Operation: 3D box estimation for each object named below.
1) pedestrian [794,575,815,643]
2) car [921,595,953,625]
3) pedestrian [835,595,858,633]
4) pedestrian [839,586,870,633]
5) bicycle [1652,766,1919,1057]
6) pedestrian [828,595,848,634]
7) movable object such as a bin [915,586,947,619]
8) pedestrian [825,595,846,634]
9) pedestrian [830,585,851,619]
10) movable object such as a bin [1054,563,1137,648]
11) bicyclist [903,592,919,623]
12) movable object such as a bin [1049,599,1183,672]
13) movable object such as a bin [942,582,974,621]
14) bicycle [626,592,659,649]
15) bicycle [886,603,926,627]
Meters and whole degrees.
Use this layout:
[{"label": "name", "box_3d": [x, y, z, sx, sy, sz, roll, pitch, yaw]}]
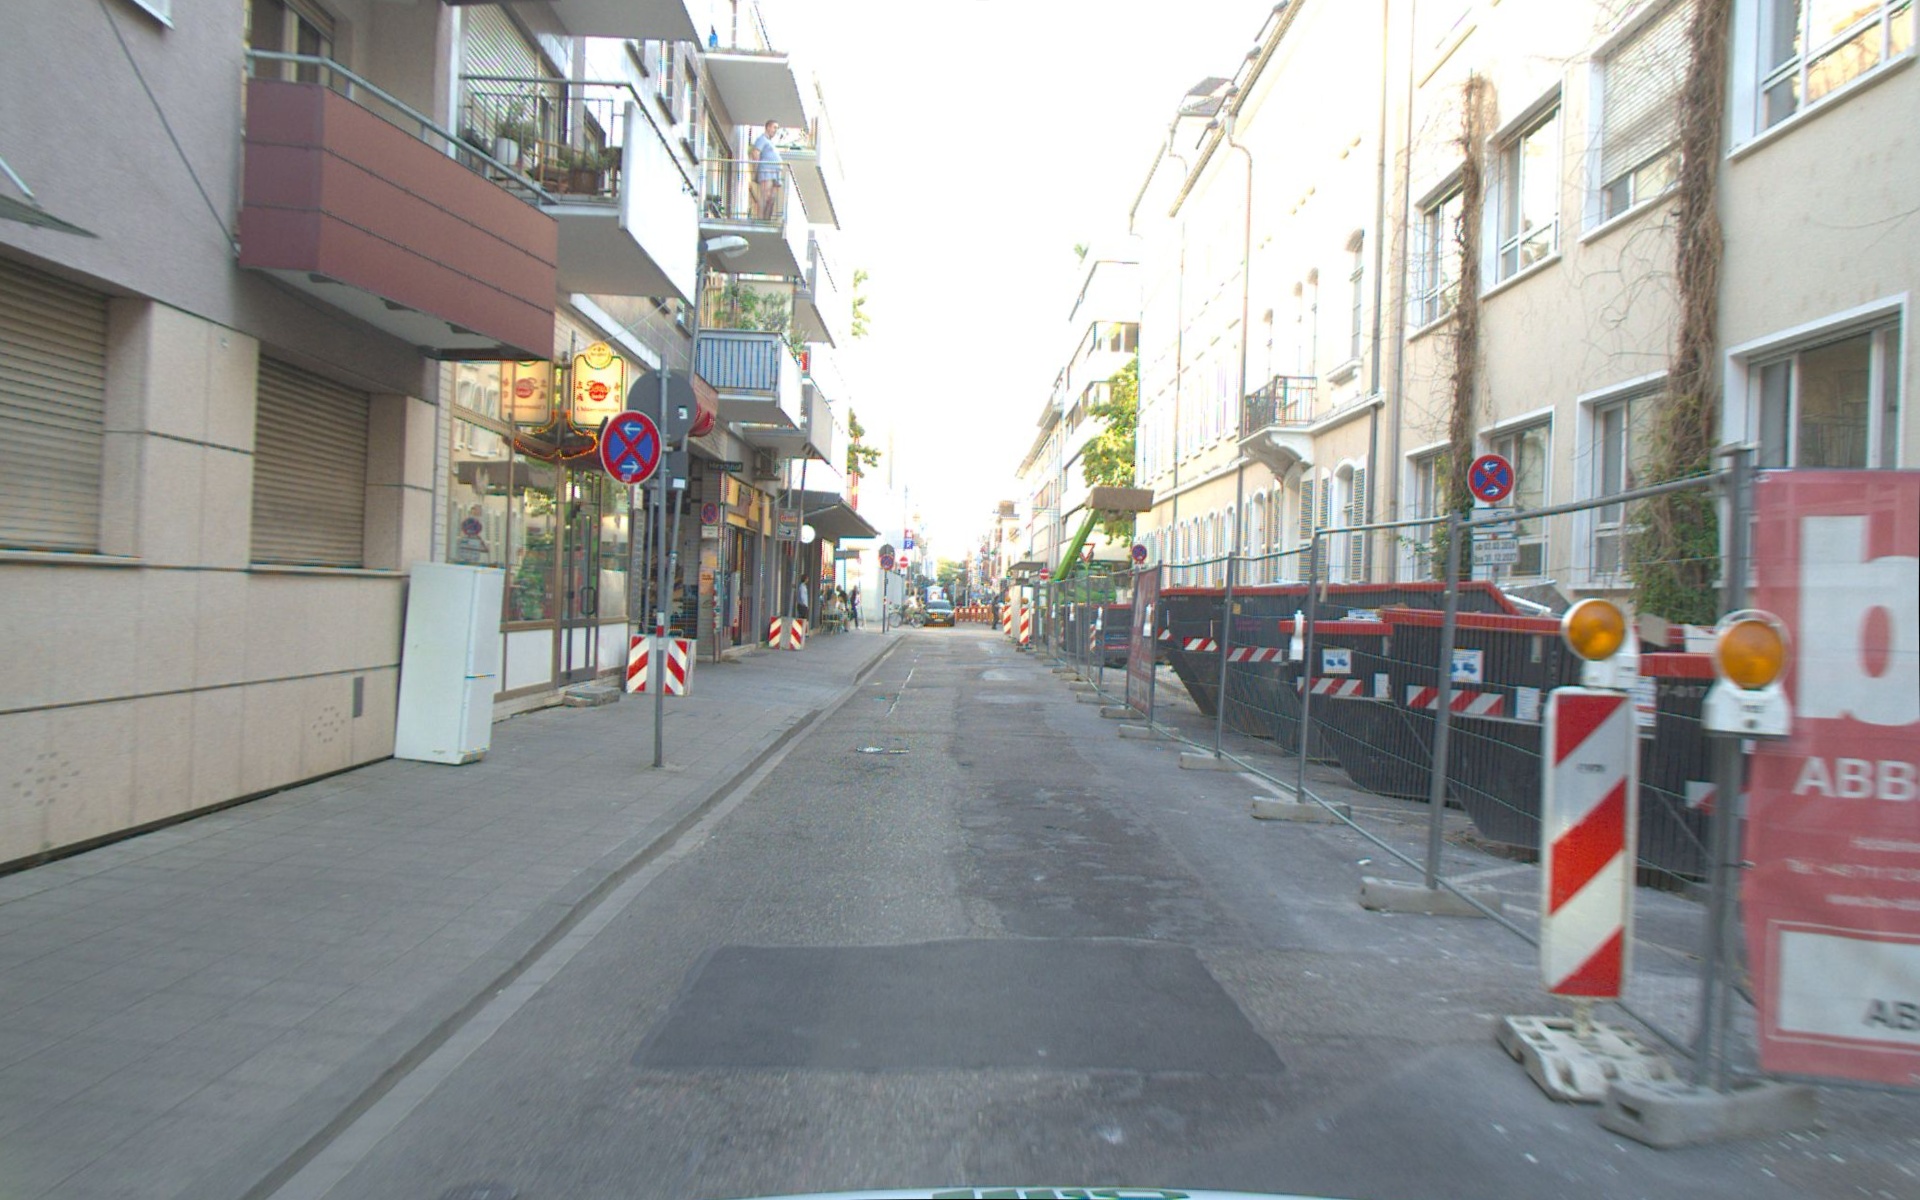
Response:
[{"label": "pedestrian", "box_3d": [-4.345, 0.251, 46.254, 0.520, 1.866, 0.562, 2, 0, -7]}, {"label": "car", "box_3d": [-1.292, 0.554, 92.974, 1.597, 1.577, 3.140, 1, 0, -4]}, {"label": "pedestrian", "box_3d": [-4.046, 0.506, 58.845, 0.688, 1.297, 0.713, 4, 0, 0]}, {"label": "pedestrian", "box_3d": [-4.203, 0.373, 65.796, 1.056, 1.867, 0.693, 1, 0, -21]}, {"label": "bicycle", "box_3d": [3.598, 1.197, 6.205, 1.777, 0.924, 0.456, 4, 1, 44]}, {"label": "pedestrian", "box_3d": [-4.243, 0.497, 57.700, 0.561, 1.297, 0.713, 4, 0, 0]}, {"label": "movable object such as a bin", "box_3d": [-1.877, 0.143, 108.258, 1.953, 2.049, 4.000, 1, 0, 0]}, {"label": "pedestrian", "box_3d": [-4.275, 0.483, 56.787, 0.561, 1.297, 0.713, 4, 0, 0]}, {"label": "pedestrian", "box_3d": [-4.564, 0.074, 63.158, 0.697, 1.298, 0.704, 2, 0, 0]}, {"label": "movable object such as a bin", "box_3d": [4.790, 0.176, 59.269, 2.551, 2.888, 4.449, 1, 0, 0]}, {"label": "bicyclist", "box_3d": [-2.337, 0.363, 78.806, 0.710, 1.467, 0.506, 2, 0, -3]}, {"label": "movable object such as a bin", "box_3d": [4.076, 0.883, 44.791, 2.681, 1.667, 7.550, 3, 0, -1]}, {"label": "movable object such as a bin", "box_3d": [-0.169, 0.108, 118.280, 2.113, 2.710, 4.572, 2, 0, -1]}, {"label": "bicycle", "box_3d": [-5.784, 0.365, 30.192, 0.370, 0.977, 1.501, 2, 1, -3]}, {"label": "bicycle", "box_3d": [-2.568, 0.712, 78.788, 1.853, 1.056, 0.409, 2, 0, -4]}]
